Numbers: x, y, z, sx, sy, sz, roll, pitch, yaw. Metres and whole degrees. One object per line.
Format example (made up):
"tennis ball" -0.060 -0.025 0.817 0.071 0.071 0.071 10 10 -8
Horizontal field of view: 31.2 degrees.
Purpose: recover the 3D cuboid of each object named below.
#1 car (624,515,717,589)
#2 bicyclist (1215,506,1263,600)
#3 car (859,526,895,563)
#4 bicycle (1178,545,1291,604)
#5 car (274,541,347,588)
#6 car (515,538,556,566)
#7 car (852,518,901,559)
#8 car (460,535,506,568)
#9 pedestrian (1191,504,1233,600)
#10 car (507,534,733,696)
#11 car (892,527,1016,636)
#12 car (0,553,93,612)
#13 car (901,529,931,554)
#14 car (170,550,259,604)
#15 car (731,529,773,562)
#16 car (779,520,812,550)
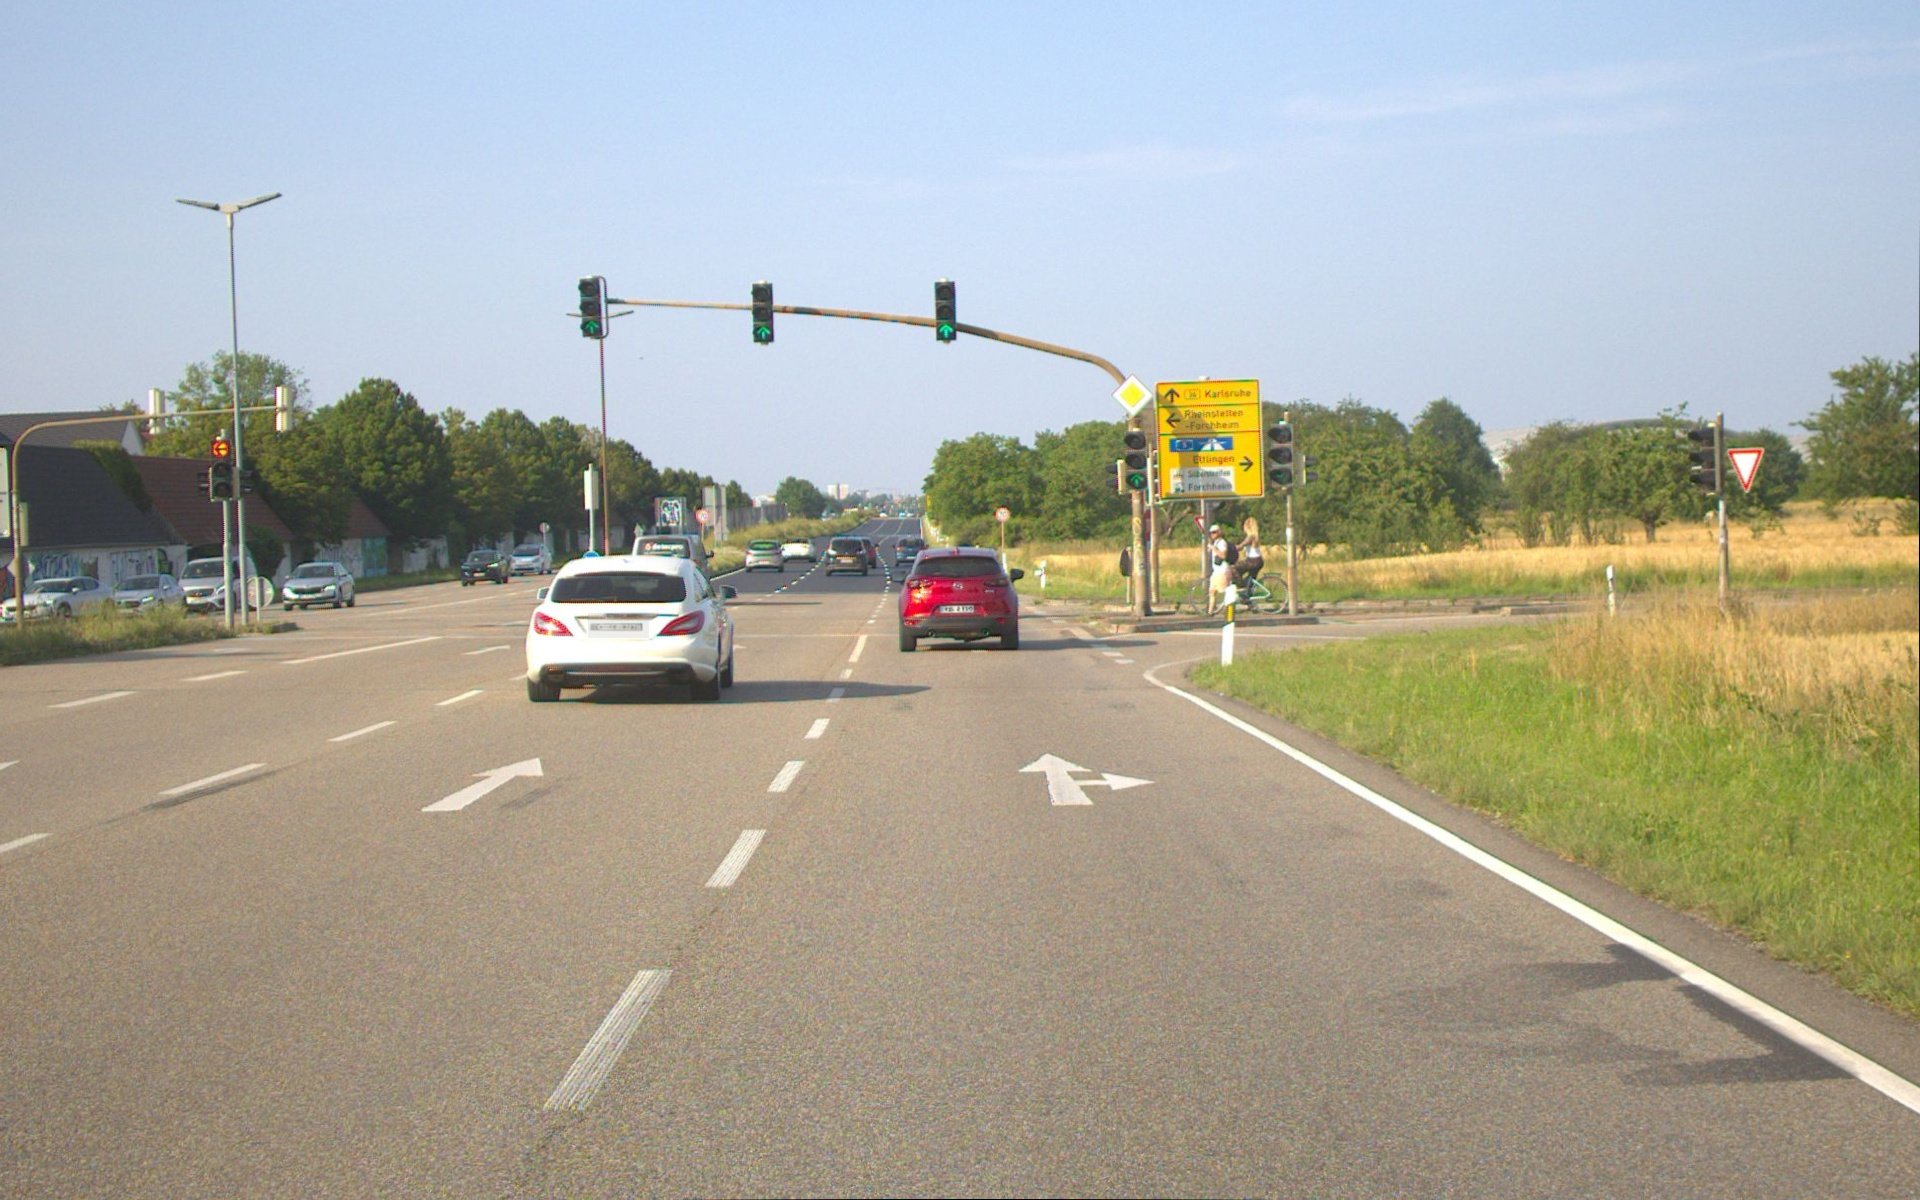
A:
"car" -7.659 -1.301 91.453 2.025 1.885 4.959 0 2 0
"bicyclist" 5.248 -0.886 64.749 0.848 1.750 0.799 0 1 1
"car" -4.039 -2.722 167.775 1.710 1.730 3.868 0 1 -1
"bicycle" 5.159 -0.480 64.777 2.096 1.085 0.808 0 1 3
"car" -20.776 -1.145 110.020 1.783 1.432 4.358 0 1 -4
"car" -23.243 -2.648 188.494 1.993 1.492 4.001 0 1 -4
"car" -3.507 -2.622 145.686 1.839 1.678 4.000 0 1 2
"car" -21.858 -2.236 157.776 1.822 1.503 3.798 0 1 -4
"pedestrian" 4.611 -0.876 62.930 0.710 1.745 0.863 0 1 2
"car" -3.358 0.104 34.635 1.894 1.503 4.000 -1 1 -1
"car" -0.078 -0.305 51.437 1.754 1.511 4.000 -2 1 0
"car" -26.173 -0.517 98.508 1.889 1.612 3.857 0 1 -4
"car" -2.243 -2.991 175.018 1.439 1.279 2.914 0 1 0
"car" -24.409 -0.781 112.687 1.997 1.681 4.576 0 1 -1
"car" -9.556 -2.513 158.261 1.717 1.487 3.585 0 1 0
"car" -9.174 -3.624 191.246 1.775 1.660 3.664 0 1 -4
